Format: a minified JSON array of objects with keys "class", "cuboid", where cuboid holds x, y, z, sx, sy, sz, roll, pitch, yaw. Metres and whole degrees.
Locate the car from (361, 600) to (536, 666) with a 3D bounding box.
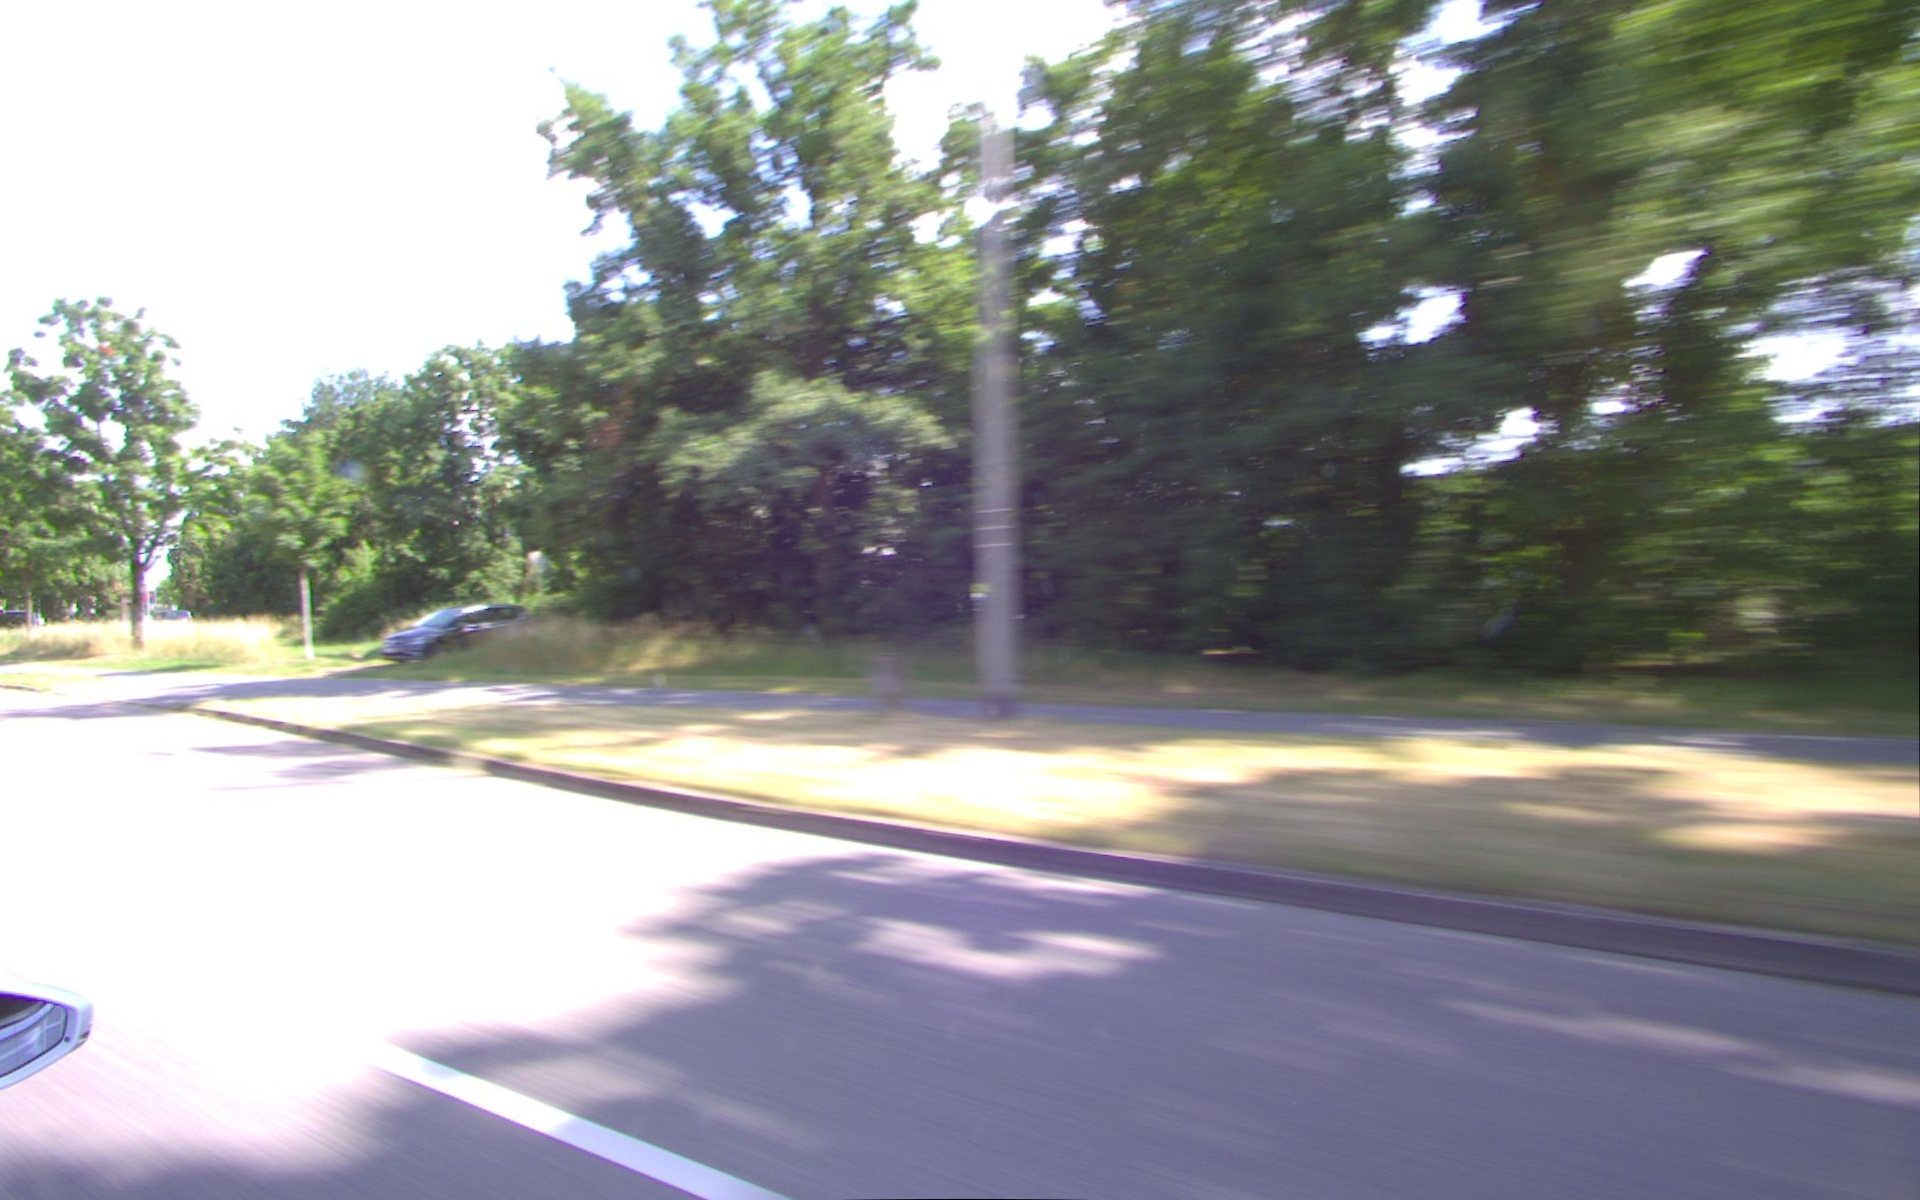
[{"class":"car","cuboid":[-14.396,0.861,28.440,1.755,1.514,4.158,1,3,26]}]
